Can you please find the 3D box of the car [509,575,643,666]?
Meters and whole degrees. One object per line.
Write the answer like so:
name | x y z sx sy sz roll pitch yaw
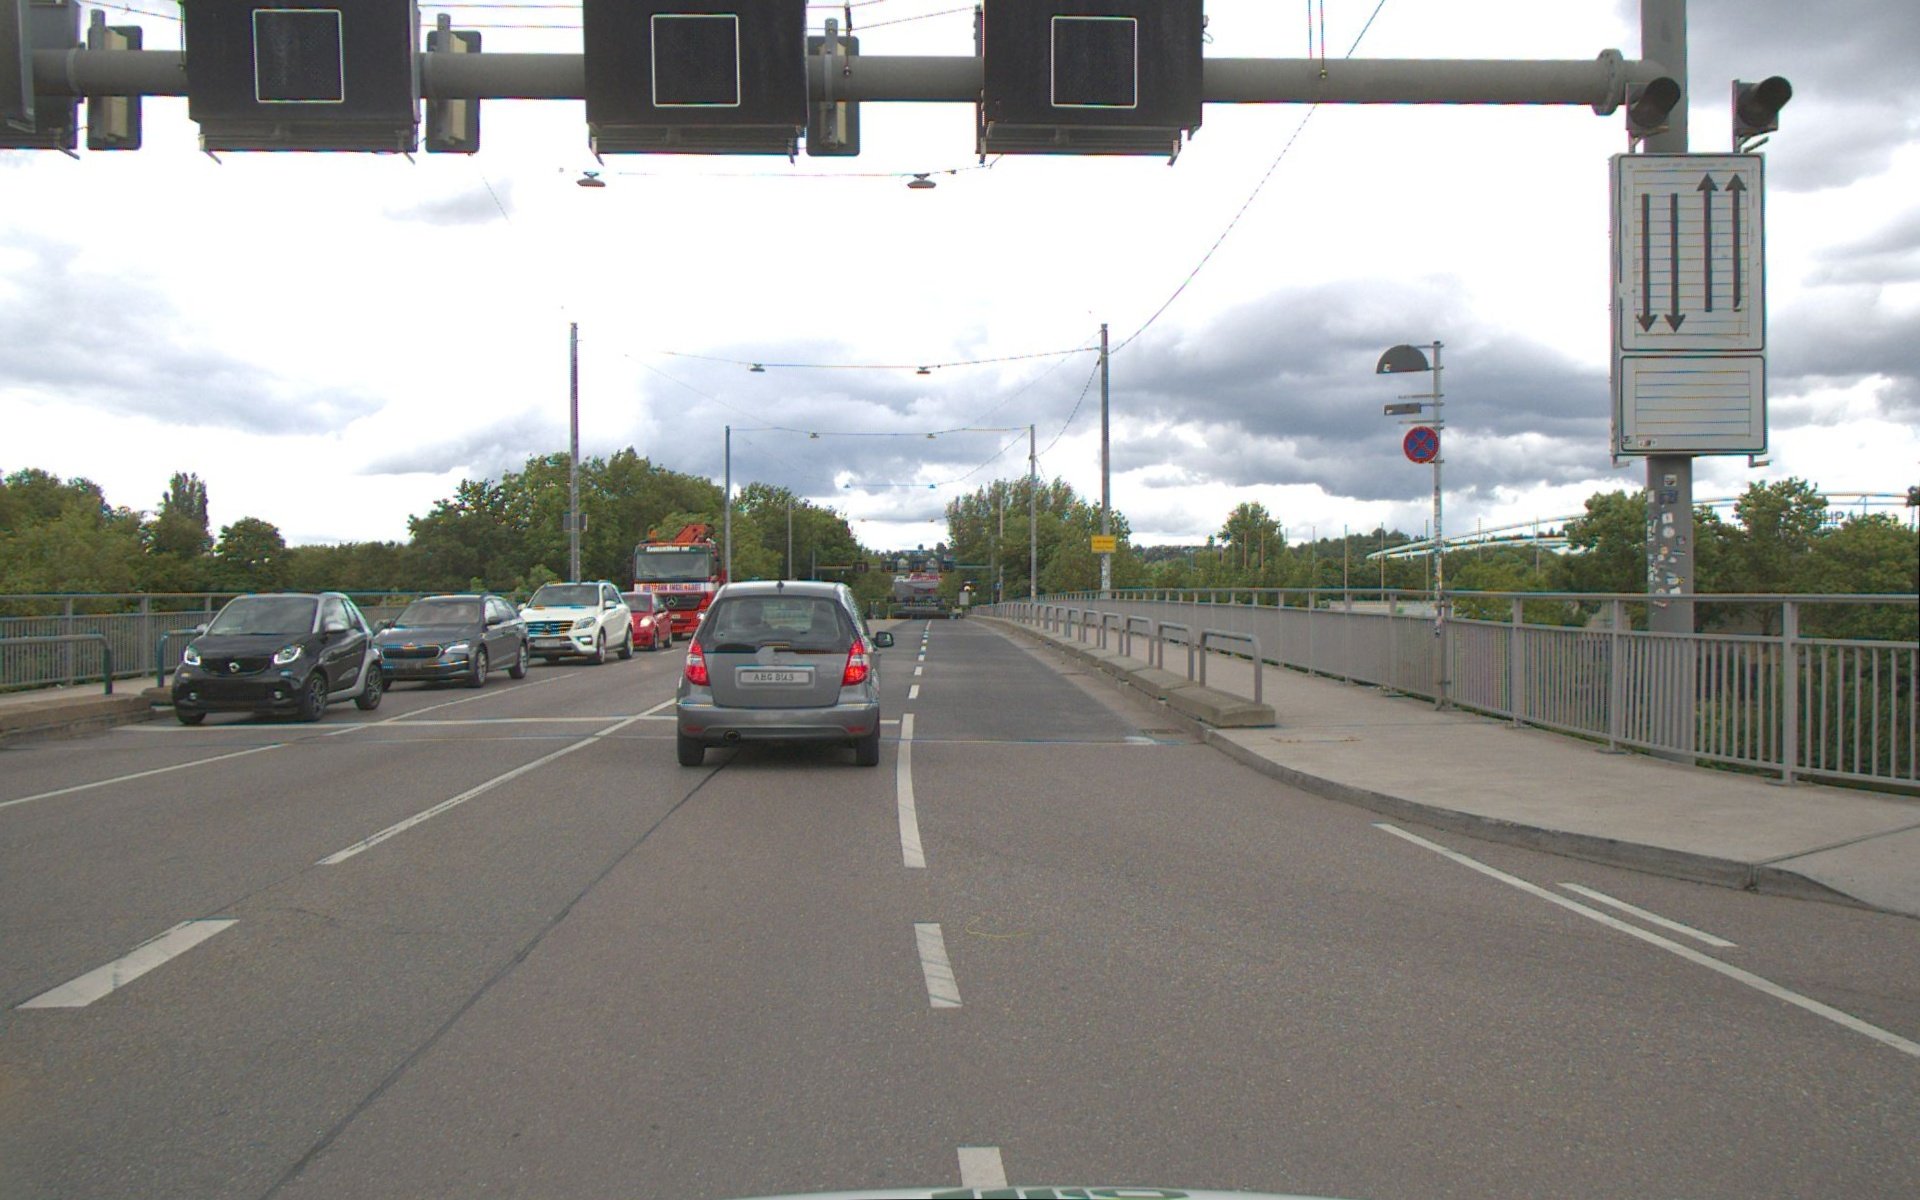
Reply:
car | -8.219 0.377 35.830 1.842 1.792 4.802 -1 1 -1

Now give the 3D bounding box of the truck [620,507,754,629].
truck | -8.889 -1.040 55.112 2.945 3.628 9.980 -1 1 -1

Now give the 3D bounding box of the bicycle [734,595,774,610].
bicycle | -14.273 0.158 114.827 2.737 1.069 0.919 0 0 -6

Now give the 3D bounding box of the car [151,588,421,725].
car | -8.487 0.643 21.219 1.797 1.530 3.872 -1 1 1

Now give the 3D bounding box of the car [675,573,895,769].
car | -1.500 0.552 15.403 1.710 1.577 3.870 1 1 -1

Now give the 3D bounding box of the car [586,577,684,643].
car | -8.555 0.226 43.844 1.842 1.631 4.015 -1 1 -1

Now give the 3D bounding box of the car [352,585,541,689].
car | -8.491 0.550 27.772 1.798 1.530 4.516 -1 1 -1

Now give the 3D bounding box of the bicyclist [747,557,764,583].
bicyclist | -14.210 -2.068 114.840 1.110 1.795 0.904 0 0 -6
